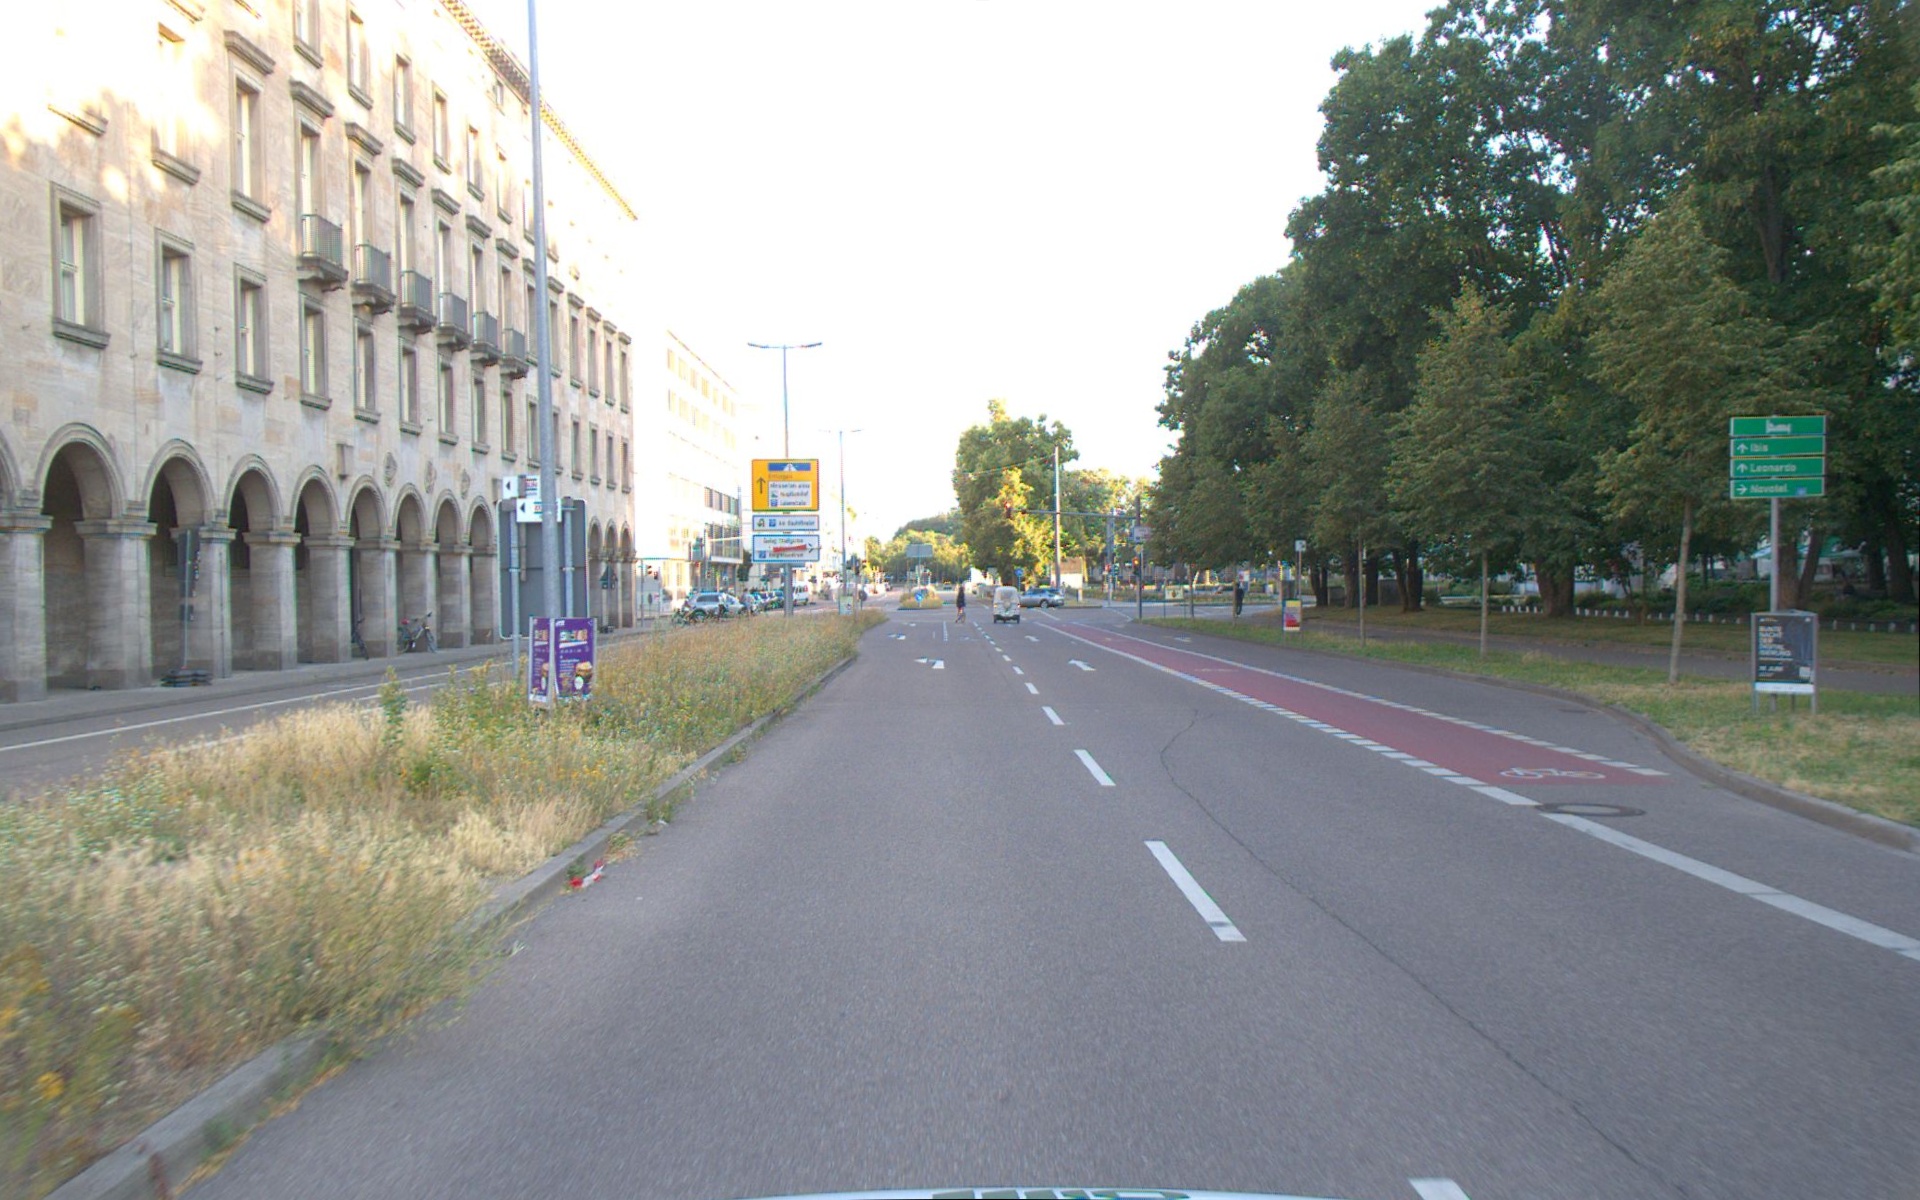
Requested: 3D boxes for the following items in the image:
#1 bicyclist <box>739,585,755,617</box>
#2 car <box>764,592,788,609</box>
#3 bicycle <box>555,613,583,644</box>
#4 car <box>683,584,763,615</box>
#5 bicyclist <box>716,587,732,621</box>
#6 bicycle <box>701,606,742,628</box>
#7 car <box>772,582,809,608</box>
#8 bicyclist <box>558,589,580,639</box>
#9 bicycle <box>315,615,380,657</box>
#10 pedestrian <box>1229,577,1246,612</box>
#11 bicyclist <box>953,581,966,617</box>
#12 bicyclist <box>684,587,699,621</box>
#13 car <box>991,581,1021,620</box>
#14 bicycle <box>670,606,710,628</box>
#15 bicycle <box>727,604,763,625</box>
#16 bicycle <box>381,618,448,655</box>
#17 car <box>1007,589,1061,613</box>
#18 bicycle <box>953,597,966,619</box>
[{"bbox_3d":[-11.667,0.042,90.527,0.730,1.723,0.715,-1,0,2],"label":"bicyclist"},{"bbox_3d":[-18.134,0.058,163.401,1.759,1.501,4.001,-2,-2,2],"label":"car"},{"bbox_3d":[-13.594,0.969,57.568,0.530,1.023,2.004,-1,0,-1],"label":"bicycle"},{"bbox_3d":[-13.408,-0.041,93.626,4.449,1.677,1.996,-1,0,-9],"label":"car"},{"bbox_3d":[-12.387,0.206,86.782,0.731,1.723,0.764,-1,0,-3],"label":"bicyclist"},{"bbox_3d":[-12.514,0.894,86.763,2.017,1.087,0.786,-1,0,-4],"label":"bicycle"},{"bbox_3d":[-17.358,-0.522,170.010,2.130,2.427,5.994,-2,-2,10],"label":"car"},{"bbox_3d":[-13.570,0.481,57.430,0.525,1.723,0.748,-1,0,0],"label":"bicyclist"},{"bbox_3d":[-16.244,0.942,43.892,0.467,1.023,2.006,-1,0,18],"label":"bicycle"},{"bbox_3d":[13.914,-0.275,83.016,0.681,1.723,0.748,-1,0,-2],"label":"pedestrian"},{"bbox_3d":[-0.030,-0.043,81.259,0.615,1.723,0.748,-1,0,-2],"label":"bicyclist"},{"bbox_3d":[-13.858,0.216,85.335,0.732,1.723,0.714,-1,0,-7],"label":"bicyclist"},{"bbox_3d":[2.273,0.004,81.081,1.429,1.811,2.565,-1,1,2],"label":"car"},{"bbox_3d":[-13.926,0.892,85.350,1.976,1.087,0.730,-1,0,-6],"label":"bicycle"},{"bbox_3d":[-11.759,0.782,90.519,1.857,1.087,0.731,-2,0,2],"label":"bicycle"},{"bbox_3d":[-16.115,1.081,48.935,0.469,1.023,1.998,-1,0,35],"label":"bicycle"},{"bbox_3d":[5.426,0.079,121.556,3.904,1.601,2.001,-1,0,2],"label":"car"},{"bbox_3d":[-0.017,0.384,81.576,0.624,1.087,2.069,0,0,-1],"label":"bicycle"}]
